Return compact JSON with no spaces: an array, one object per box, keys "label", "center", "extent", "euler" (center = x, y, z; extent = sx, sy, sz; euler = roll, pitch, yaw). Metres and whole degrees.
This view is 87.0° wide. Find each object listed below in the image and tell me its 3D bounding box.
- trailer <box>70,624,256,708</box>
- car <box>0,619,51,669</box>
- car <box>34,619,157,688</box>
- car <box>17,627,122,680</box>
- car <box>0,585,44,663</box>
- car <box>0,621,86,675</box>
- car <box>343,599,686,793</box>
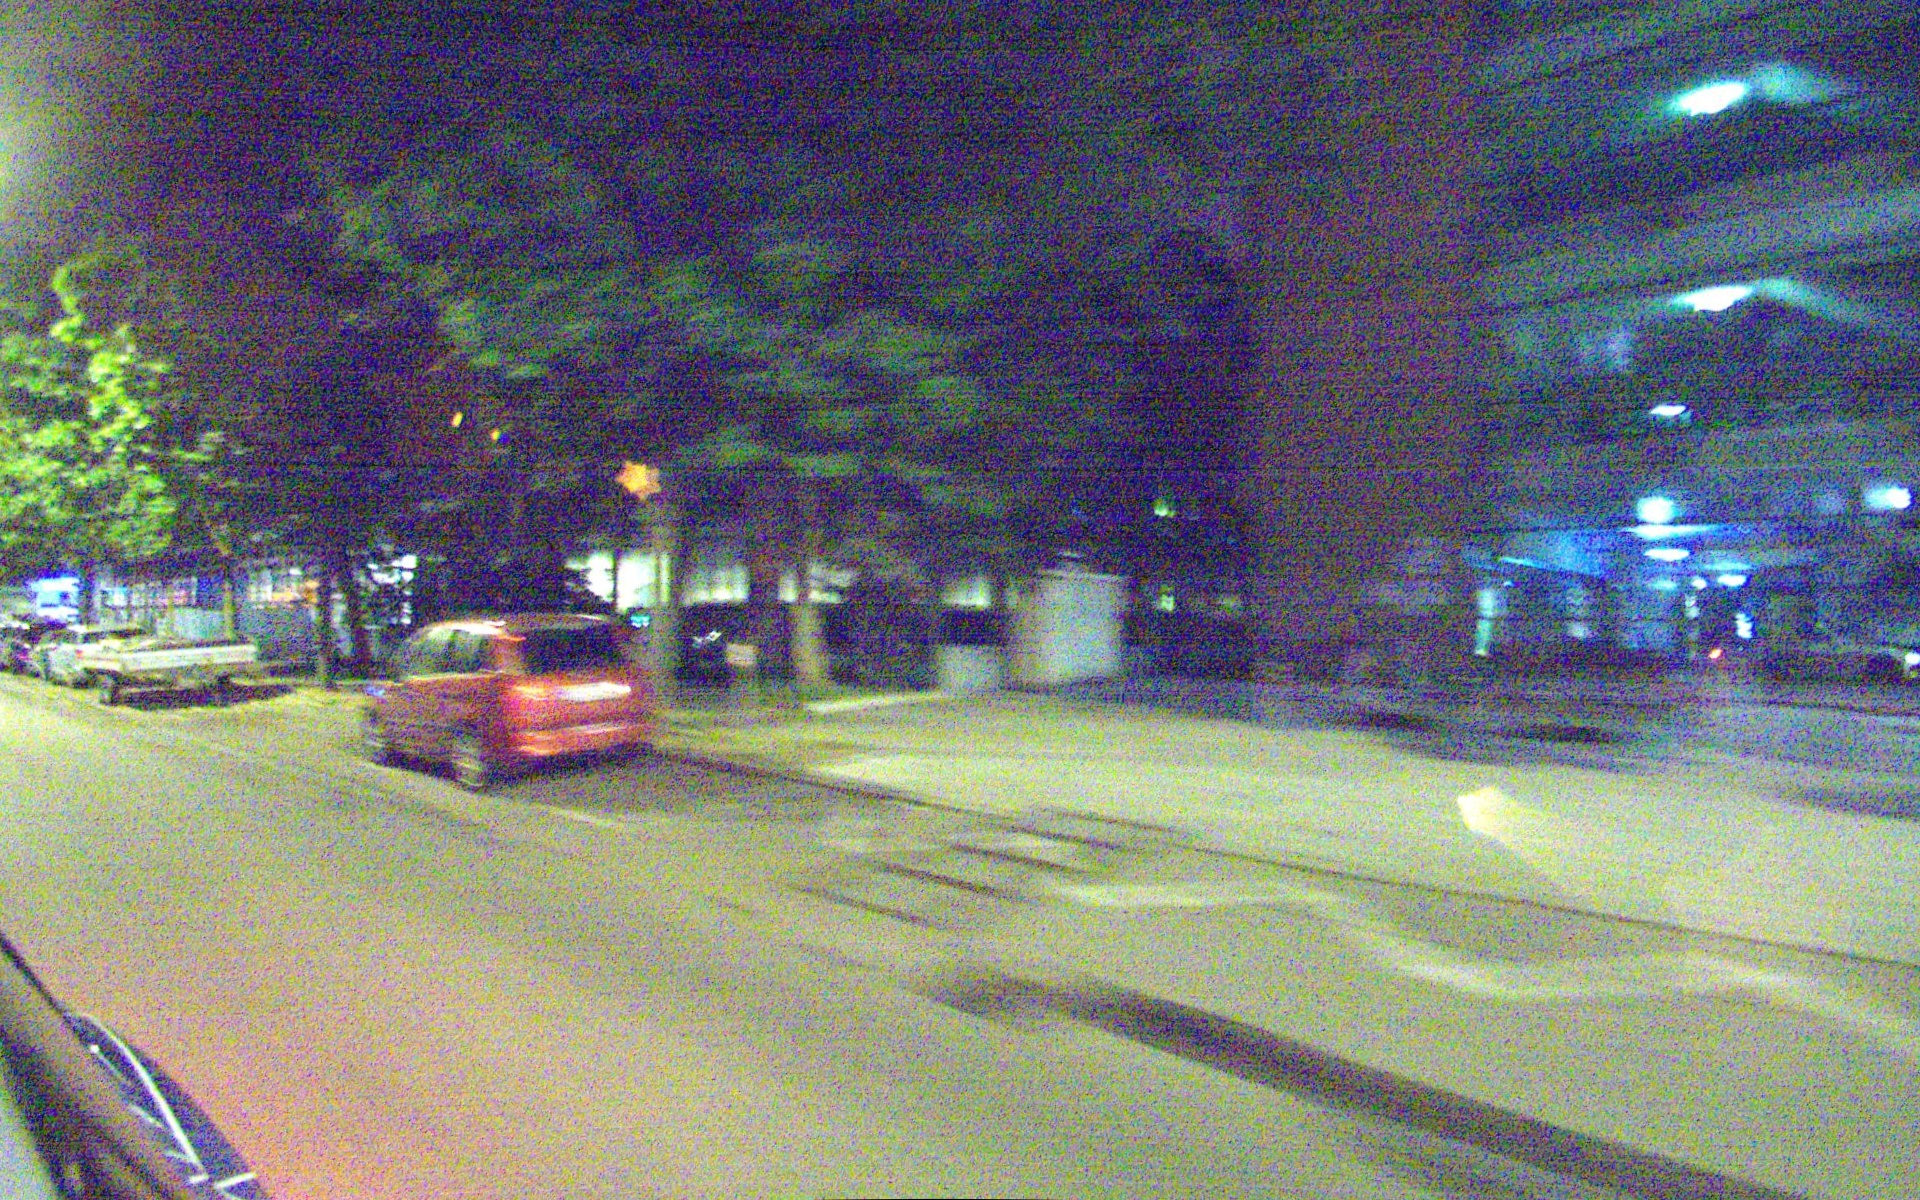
[{"label":"trailer","center":[-16.403,1.238,20.706],"extent":[5.434,1.344,2.088],"euler":[-1,2,42]},{"label":"car","center":[-33.455,1.547,35.652],"extent":[4.115,1.618,1.723],"euler":[-2,0,42]},{"label":"car","center":[-22.061,1.306,25.769],"extent":[4.202,1.513,1.699],"euler":[-1,2,40]},{"label":"car","center":[-26.006,1.510,29.506],"extent":[4.630,1.422,1.687],"euler":[-1,-2,41]},{"label":"car","center":[-38.279,0.947,40.198],"extent":[4.906,2.931,2.157],"euler":[-1,1,40]},{"label":"car","center":[-29.877,1.530,32.697],"extent":[4.293,1.619,1.724],"euler":[-2,-3,39]},{"label":"car","center":[-4.823,0.855,10.695],"extent":[4.072,1.611,1.803],"euler":[-1,1,42]}]
